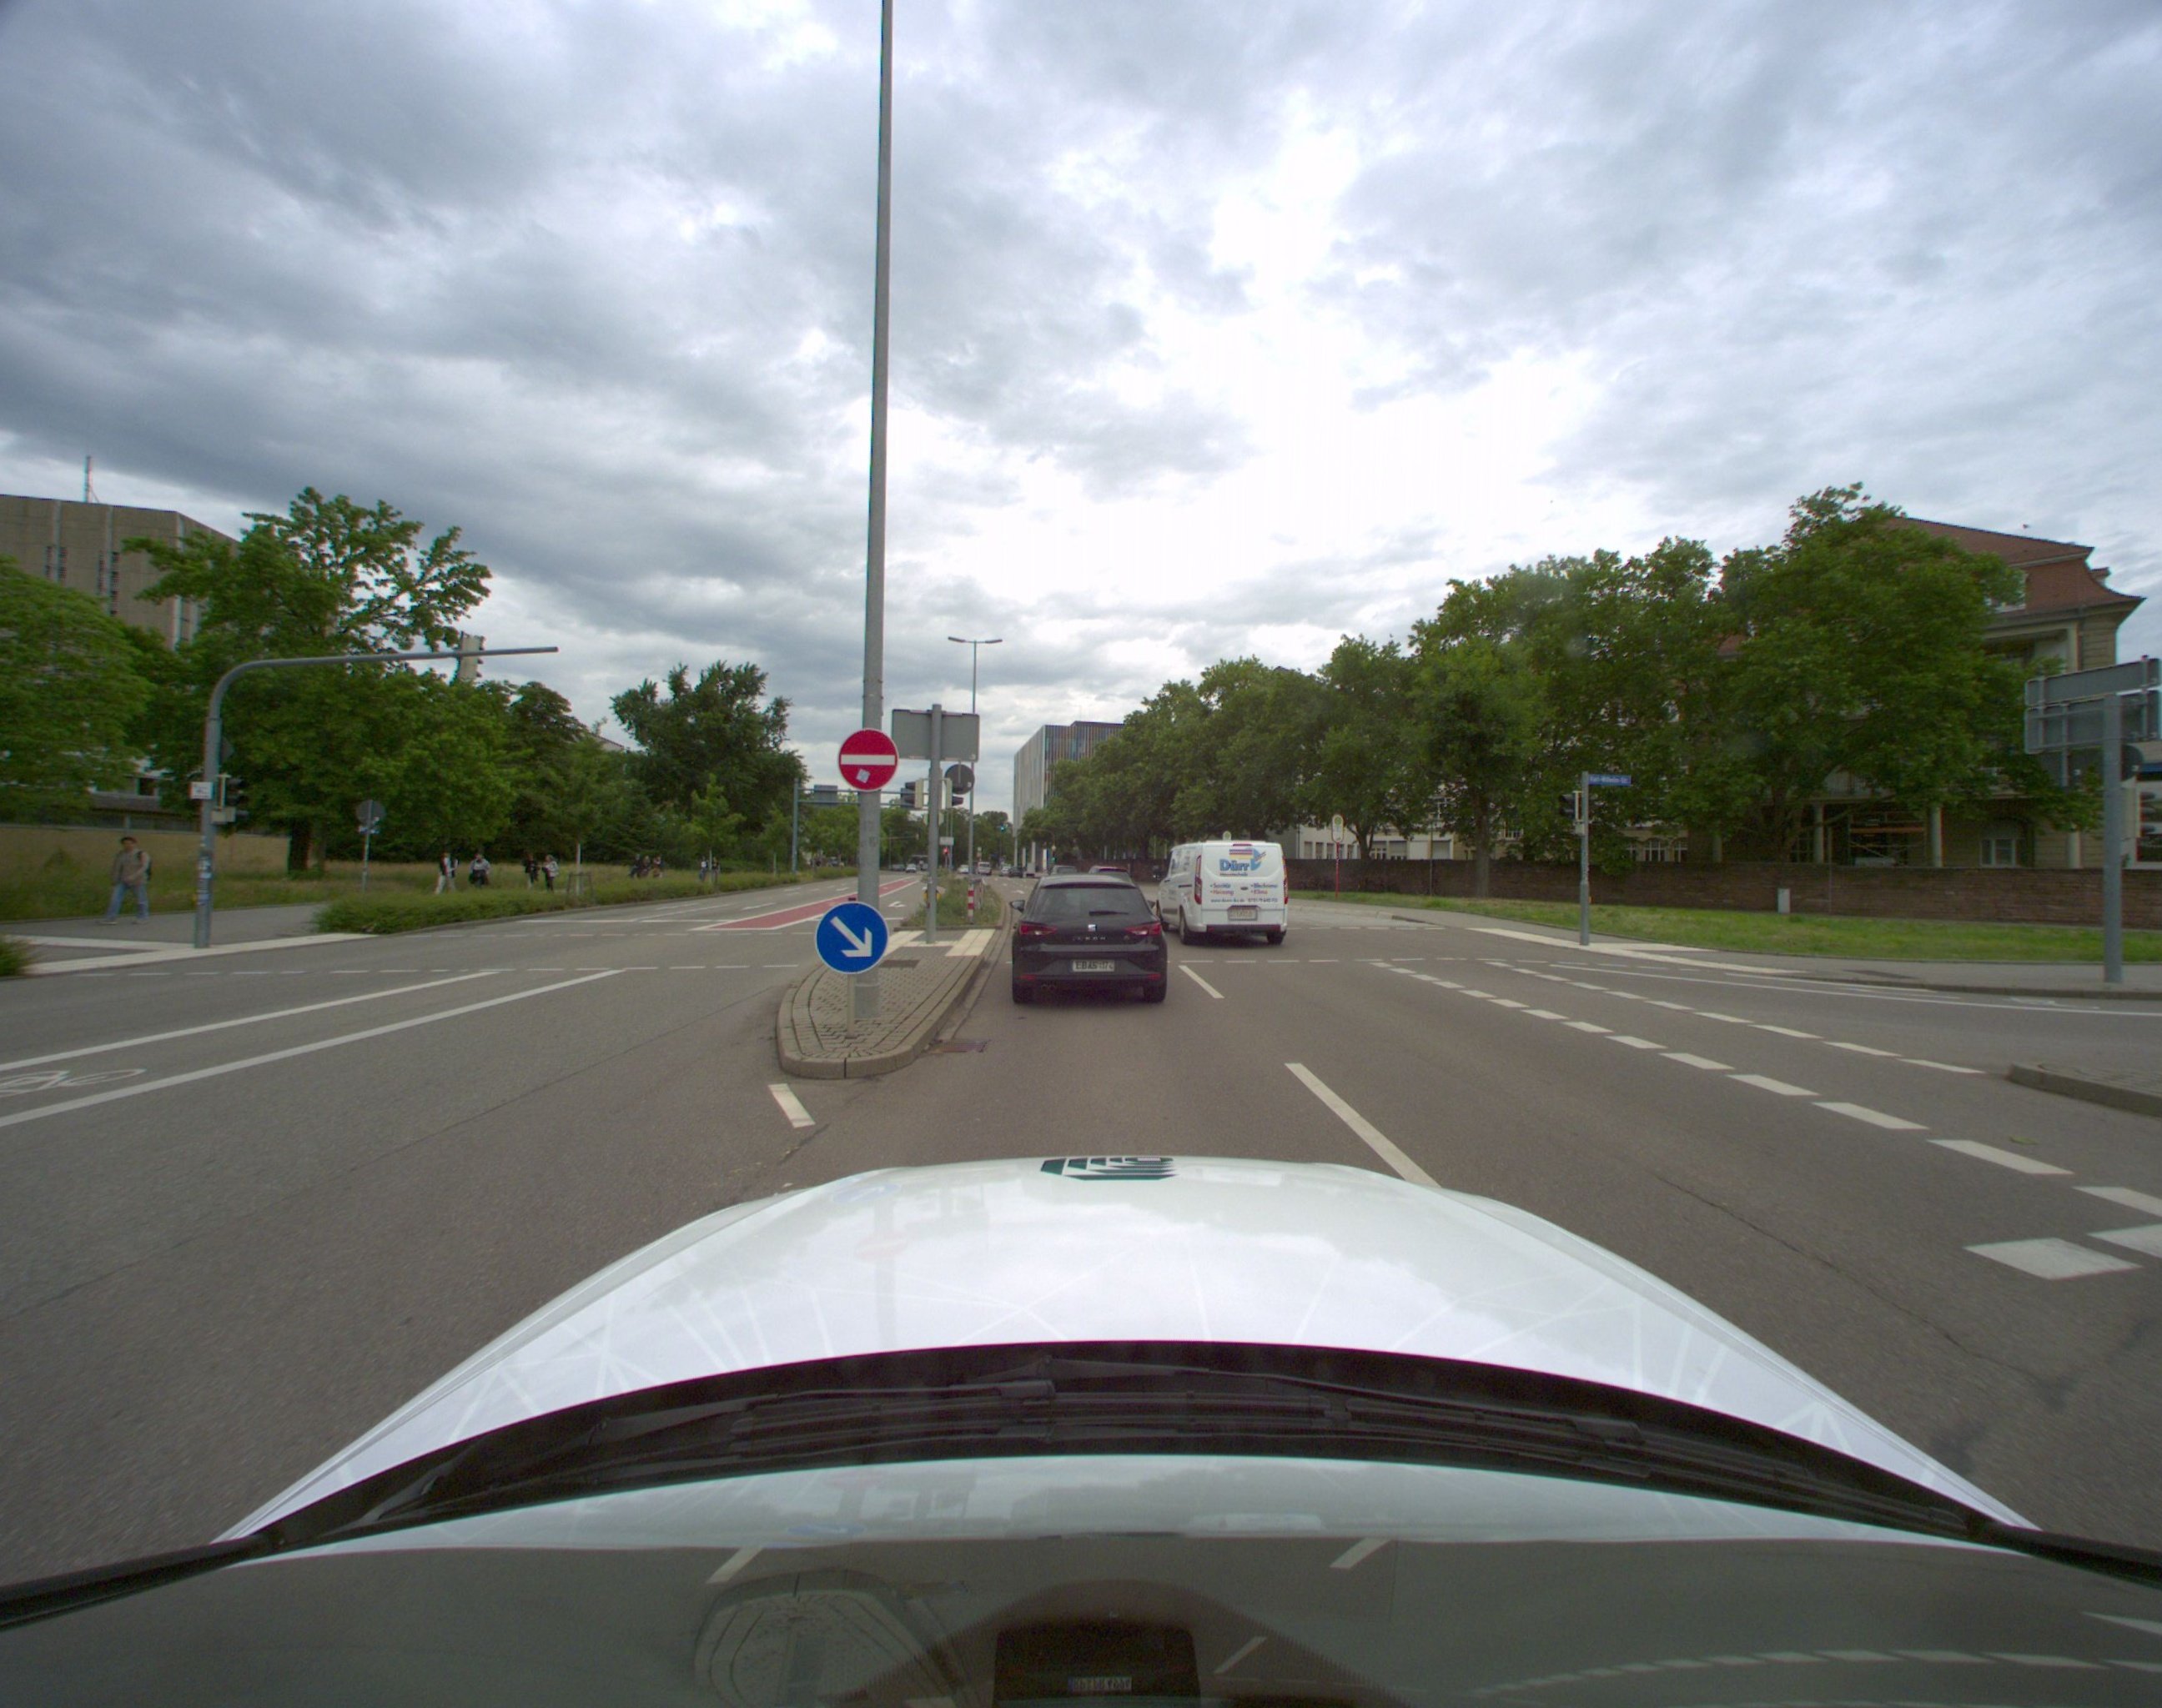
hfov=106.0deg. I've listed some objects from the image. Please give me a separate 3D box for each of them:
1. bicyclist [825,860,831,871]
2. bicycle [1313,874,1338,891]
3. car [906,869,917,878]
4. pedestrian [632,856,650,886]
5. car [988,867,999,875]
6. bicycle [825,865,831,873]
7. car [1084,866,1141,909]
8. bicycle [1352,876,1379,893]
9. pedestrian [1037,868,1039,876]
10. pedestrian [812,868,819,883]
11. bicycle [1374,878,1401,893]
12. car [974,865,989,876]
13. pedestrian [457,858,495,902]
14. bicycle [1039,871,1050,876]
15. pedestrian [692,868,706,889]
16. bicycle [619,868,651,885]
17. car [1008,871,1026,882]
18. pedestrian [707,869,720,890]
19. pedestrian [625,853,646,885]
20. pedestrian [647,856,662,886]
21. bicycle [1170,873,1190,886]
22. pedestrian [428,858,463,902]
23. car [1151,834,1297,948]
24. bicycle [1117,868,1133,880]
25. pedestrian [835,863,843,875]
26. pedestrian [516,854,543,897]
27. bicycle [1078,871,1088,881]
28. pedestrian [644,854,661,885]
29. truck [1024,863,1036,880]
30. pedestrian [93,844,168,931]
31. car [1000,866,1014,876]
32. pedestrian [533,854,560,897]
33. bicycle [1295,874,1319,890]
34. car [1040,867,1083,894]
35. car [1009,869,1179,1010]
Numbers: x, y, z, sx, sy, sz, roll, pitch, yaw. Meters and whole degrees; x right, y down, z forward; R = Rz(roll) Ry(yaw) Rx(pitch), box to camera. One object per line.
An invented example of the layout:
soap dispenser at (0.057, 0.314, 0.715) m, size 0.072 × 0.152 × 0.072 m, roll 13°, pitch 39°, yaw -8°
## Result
bicyclist at (-37.446, 1.675, 120.527) m, size 0.669 × 1.636 × 0.953 m, roll 3°, pitch -3°, yaw -26°
bicycle at (17.310, 2.028, 57.621) m, size 0.598 × 1.129 × 1.695 m, roll 0°, pitch -1°, yaw -34°
car at (-29.205, 3.316, 140.340) m, size 1.607 × 1.381 × 3.798 m, roll 0°, pitch -1°, yaw -8°
pedestrian at (-24.501, 0.926, 45.323) m, size 0.708 × 1.672 × 0.764 m, roll 0°, pitch -1°, yaw -14°
car at (-14.544, 2.785, 134.887) m, size 1.506 × 1.194 × 3.150 m, roll 0°, pitch -1°, yaw -12°
bicycle at (-37.452, 2.198, 120.483) m, size 0.669 × 1.062 × 1.605 m, roll 3°, pitch -3°, yaw -25°
car at (1.256, 1.345, 34.152) m, size 1.945 × 1.624 × 3.744 m, roll 2°, pitch -1°, yaw -4°
bicycle at (19.093, 2.049, 54.732) m, size 0.598 × 1.059 × 1.695 m, roll 0°, pitch -1°, yaw -34°
pedestrian at (-8.248, 3.453, 156.236) m, size 0.470 × 1.362 × 0.445 m, roll 0°, pitch -1°, yaw 2°
pedestrian at (-30.221, 2.476, 92.850) m, size 0.620 × 1.729 × 0.816 m, roll 0°, pitch -1°, yaw -9°
bicycle at (20.032, 2.052, 53.303) m, size 0.553 × 0.992 × 1.619 m, roll 0°, pitch -1°, yaw -37°
car at (-14.002, 2.294, 114.293) m, size 1.697 × 1.504 × 3.992 m, roll 0°, pitch -1°, yaw -12°
pedestrian at (-20.756, 0.880, 27.943) m, size 0.727 × 1.480 × 0.811 m, roll 0°, pitch -1°, yaw -5°
bicycle at (-6.498, 3.502, 143.852) m, size 1.897 × 0.899 × 0.691 m, roll 0°, pitch -1°, yaw -29°
pedestrian at (-24.810, 1.581, 52.928) m, size 0.645 × 1.362 × 0.678 m, roll 0°, pitch -1°, yaw -12°
bicycle at (-23.126, 1.158, 42.273) m, size 0.658 × 0.888 × 1.716 m, roll 0°, pitch -1°, yaw 3°
car at (-8.133, 2.800, 103.012) m, size 1.900 × 1.354 × 3.867 m, roll 0°, pitch -1°, yaw -12°
pedestrian at (-23.915, 1.676, 53.005) m, size 0.645 × 1.358 × 0.708 m, roll 0°, pitch -1°, yaw -12°
pedestrian at (-23.128, 0.755, 42.279) m, size 0.658 × 1.632 × 0.764 m, roll 0°, pitch -1°, yaw 3°
pedestrian at (-23.795, 0.934, 45.492) m, size 0.586 × 1.660 × 0.717 m, roll 0°, pitch -1°, yaw -14°
bicycle at (8.944, 2.296, 73.374) m, size 0.724 × 1.100 × 1.772 m, roll 0°, pitch -1°, yaw -37°
pedestrian at (-21.549, 0.879, 27.626) m, size 0.634 × 1.480 × 0.760 m, roll 0°, pitch -1°, yaw -5°
car at (2.778, 0.742, 16.881) m, size 1.962 × 1.973 × 4.337 m, roll 3°, pitch -2°, yaw -4°
bicycle at (4.576, 2.079, 84.975) m, size 0.852 × 1.127 × 1.908 m, roll -1°, pitch -1°, yaw -23°
pedestrian at (-35.363, 2.203, 118.920) m, size 0.820 × 1.740 × 0.847 m, roll -6°, pitch -7°, yaw 43°
pedestrian at (-22.221, 0.853, 32.831) m, size 0.578 × 1.712 × 0.760 m, roll 0°, pitch -1°, yaw -6°
bicycle at (0.214, 2.665, 97.417) m, size 0.804 × 1.174 × 1.945 m, roll -2°, pitch 0°, yaw -13°
pedestrian at (-22.320, 0.814, 42.400) m, size 0.573 × 1.609 × 0.616 m, roll 0°, pitch -1°, yaw 0°
truck at (-6.872, 2.359, 108.557) m, size 1.317 × 2.243 × 3.391 m, roll 0°, pitch -1°, yaw -8°
pedestrian at (-20.210, 0.698, 17.336) m, size 0.636 × 1.801 × 0.760 m, roll 1°, pitch -1°, yaw -5°
car at (-10.463, 2.367, 115.021) m, size 1.617 × 1.354 × 3.984 m, roll 0°, pitch -1°, yaw -12°
pedestrian at (-21.594, 0.863, 32.893) m, size 0.621 × 1.695 × 0.745 m, roll 0°, pitch -1°, yaw -7°
bicycle at (16.415, 2.043, 59.089) m, size 0.598 × 1.136 × 1.695 m, roll 0°, pitch -1°, yaw -34°
car at (-1.314, 1.682, 52.968) m, size 1.918 × 1.664 × 4.093 m, roll 0°, pitch -1°, yaw -15°
car at (0.008, 0.930, 10.255) m, size 1.750 × 1.433 × 3.762 m, roll 1°, pitch -2°, yaw -4°
